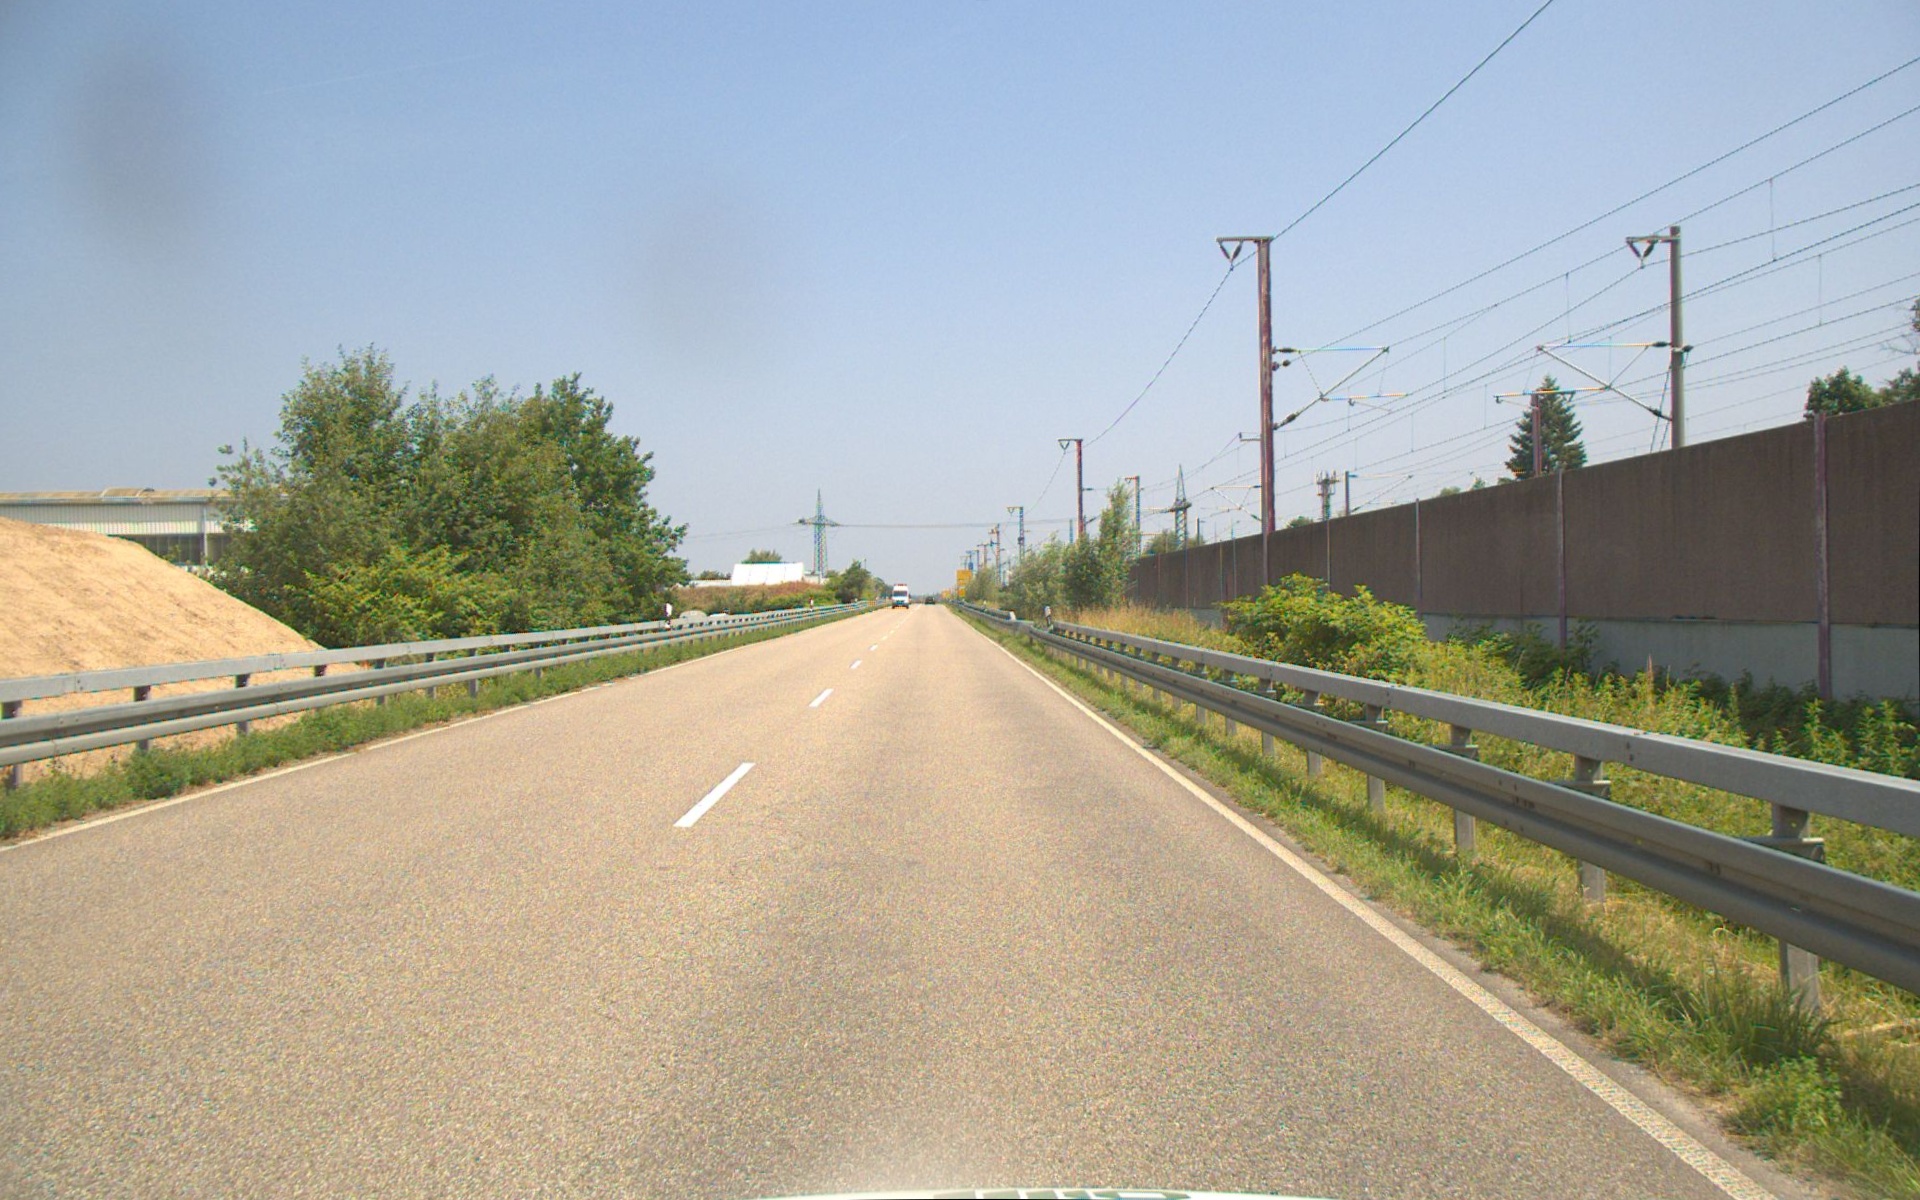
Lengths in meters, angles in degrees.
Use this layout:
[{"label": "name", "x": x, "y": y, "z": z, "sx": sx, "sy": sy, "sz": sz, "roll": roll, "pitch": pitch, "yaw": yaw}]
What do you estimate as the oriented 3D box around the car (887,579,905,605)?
[{"label": "car", "x": -7.523, "y": -0.936, "z": 194.225, "sx": 2.037, "sy": 3.014, "sz": 6.727, "roll": 1, "pitch": 0, "yaw": -1}]
